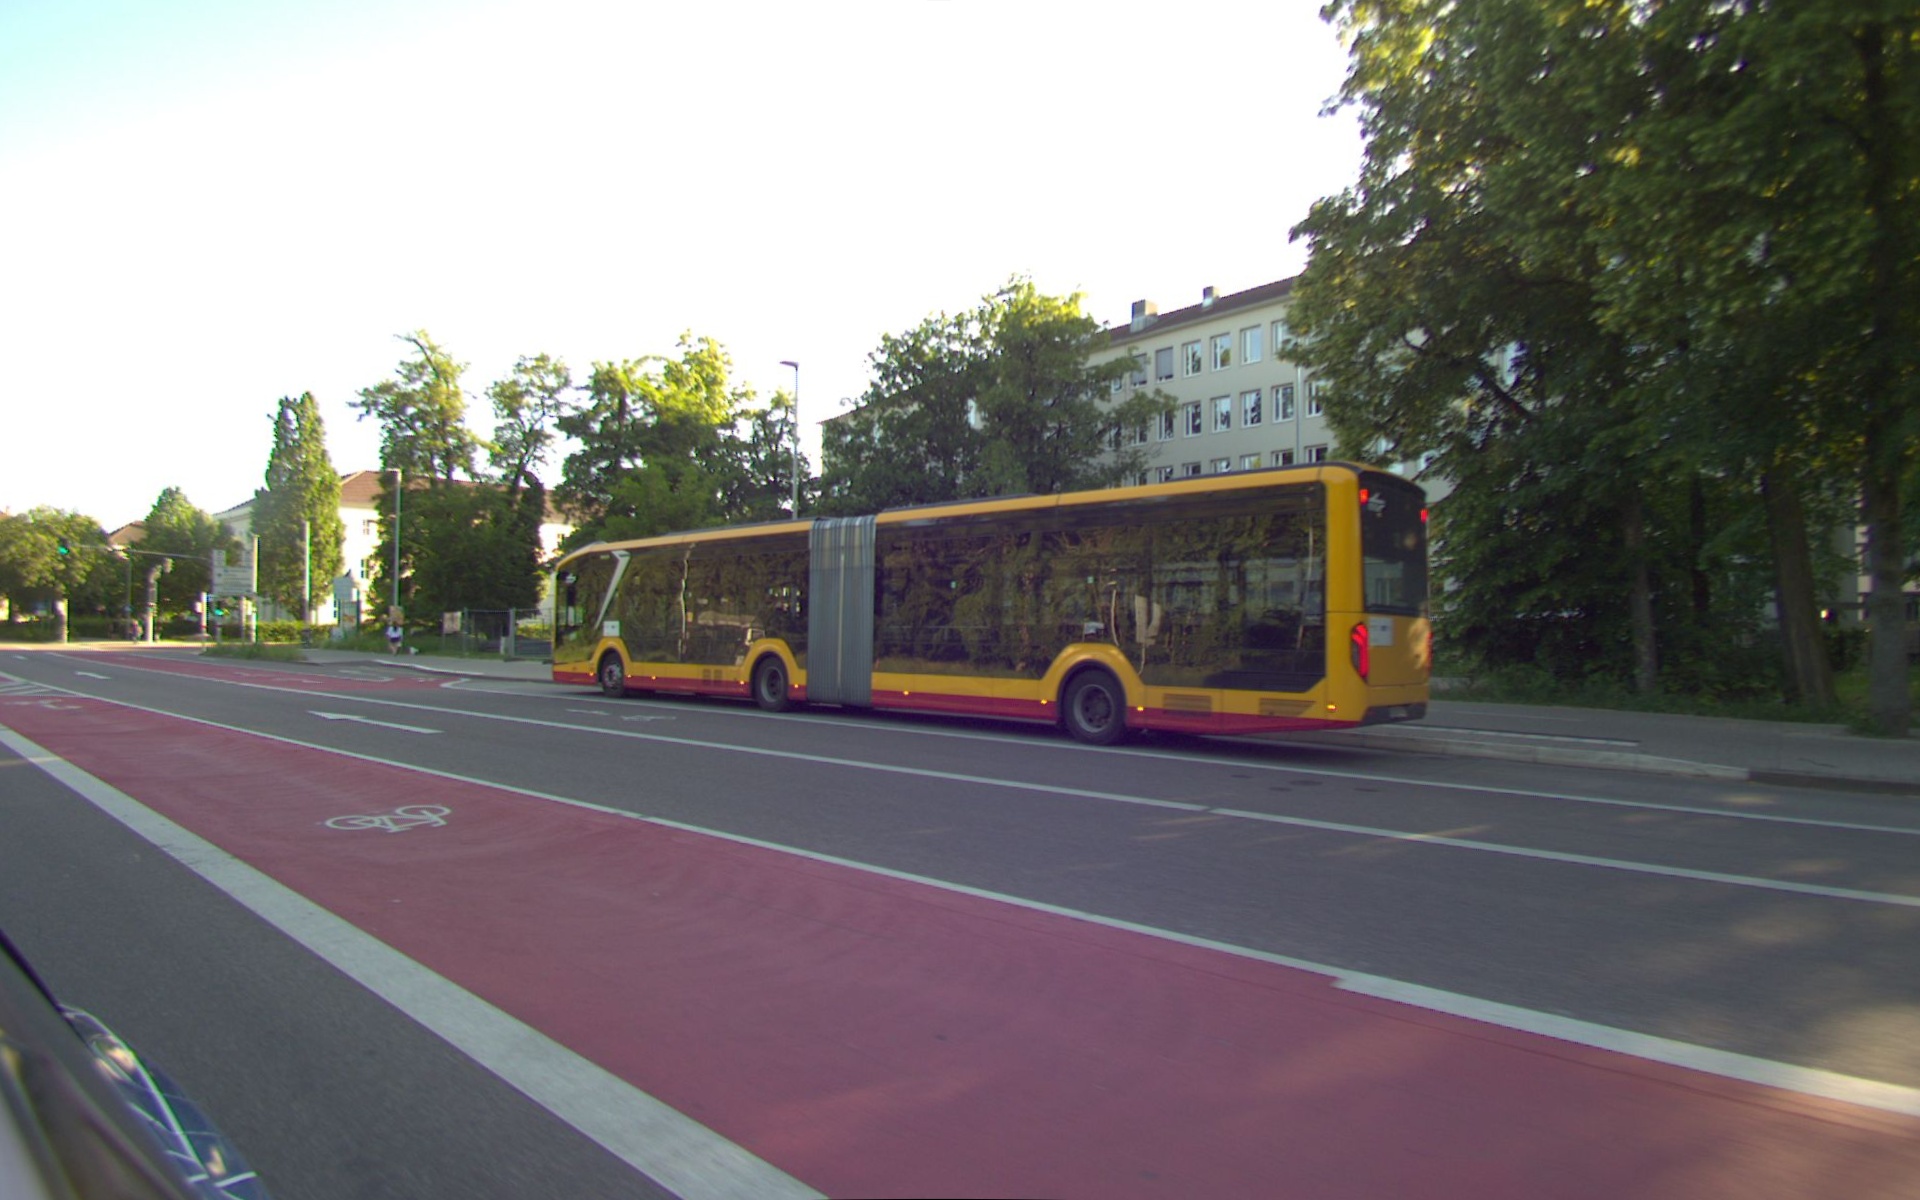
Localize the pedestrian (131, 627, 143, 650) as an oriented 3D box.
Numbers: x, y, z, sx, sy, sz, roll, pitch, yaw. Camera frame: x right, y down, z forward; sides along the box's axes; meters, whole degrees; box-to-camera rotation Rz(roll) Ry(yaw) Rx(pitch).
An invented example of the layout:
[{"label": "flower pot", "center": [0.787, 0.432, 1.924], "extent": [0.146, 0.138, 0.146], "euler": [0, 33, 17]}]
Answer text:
[{"label": "pedestrian", "center": [-62.907, 2.937, 77.370], "extent": [0.681, 1.694, 0.681], "euler": [2, -3, -41]}]

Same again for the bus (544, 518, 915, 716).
[{"label": "bus", "center": [-4.961, 0.382, 20.384], "extent": [8.596, 3.221, 2.810], "euler": [-1, -2, 42]}]

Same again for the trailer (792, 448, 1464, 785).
[{"label": "trailer", "center": [1.690, 0.205, 14.360], "extent": [9.360, 3.381, 2.824], "euler": [-1, 0, 42]}]

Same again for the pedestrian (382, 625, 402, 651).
[{"label": "pedestrian", "center": [-37.146, 2.470, 66.205], "extent": [0.643, 1.709, 0.966], "euler": [-2, -3, 45]}]

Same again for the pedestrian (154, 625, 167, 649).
[{"label": "pedestrian", "center": [-62.701, 2.902, 79.393], "extent": [0.734, 1.830, 0.727], "euler": [2, -2, -41]}]

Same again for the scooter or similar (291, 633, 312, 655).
[{"label": "scooter or similar", "center": [-39.061, 2.585, 60.040], "extent": [0.683, 1.304, 1.501], "euler": [1, -2, -20]}]

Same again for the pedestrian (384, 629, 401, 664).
[{"label": "pedestrian", "center": [-25.446, 2.083, 45.389], "extent": [0.570, 1.545, 0.447], "euler": [-1, -1, 36]}]

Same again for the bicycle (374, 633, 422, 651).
[{"label": "bicycle", "center": [-36.675, 2.748, 66.028], "extent": [0.980, 1.144, 2.541], "euler": [-2, -3, 44]}]
